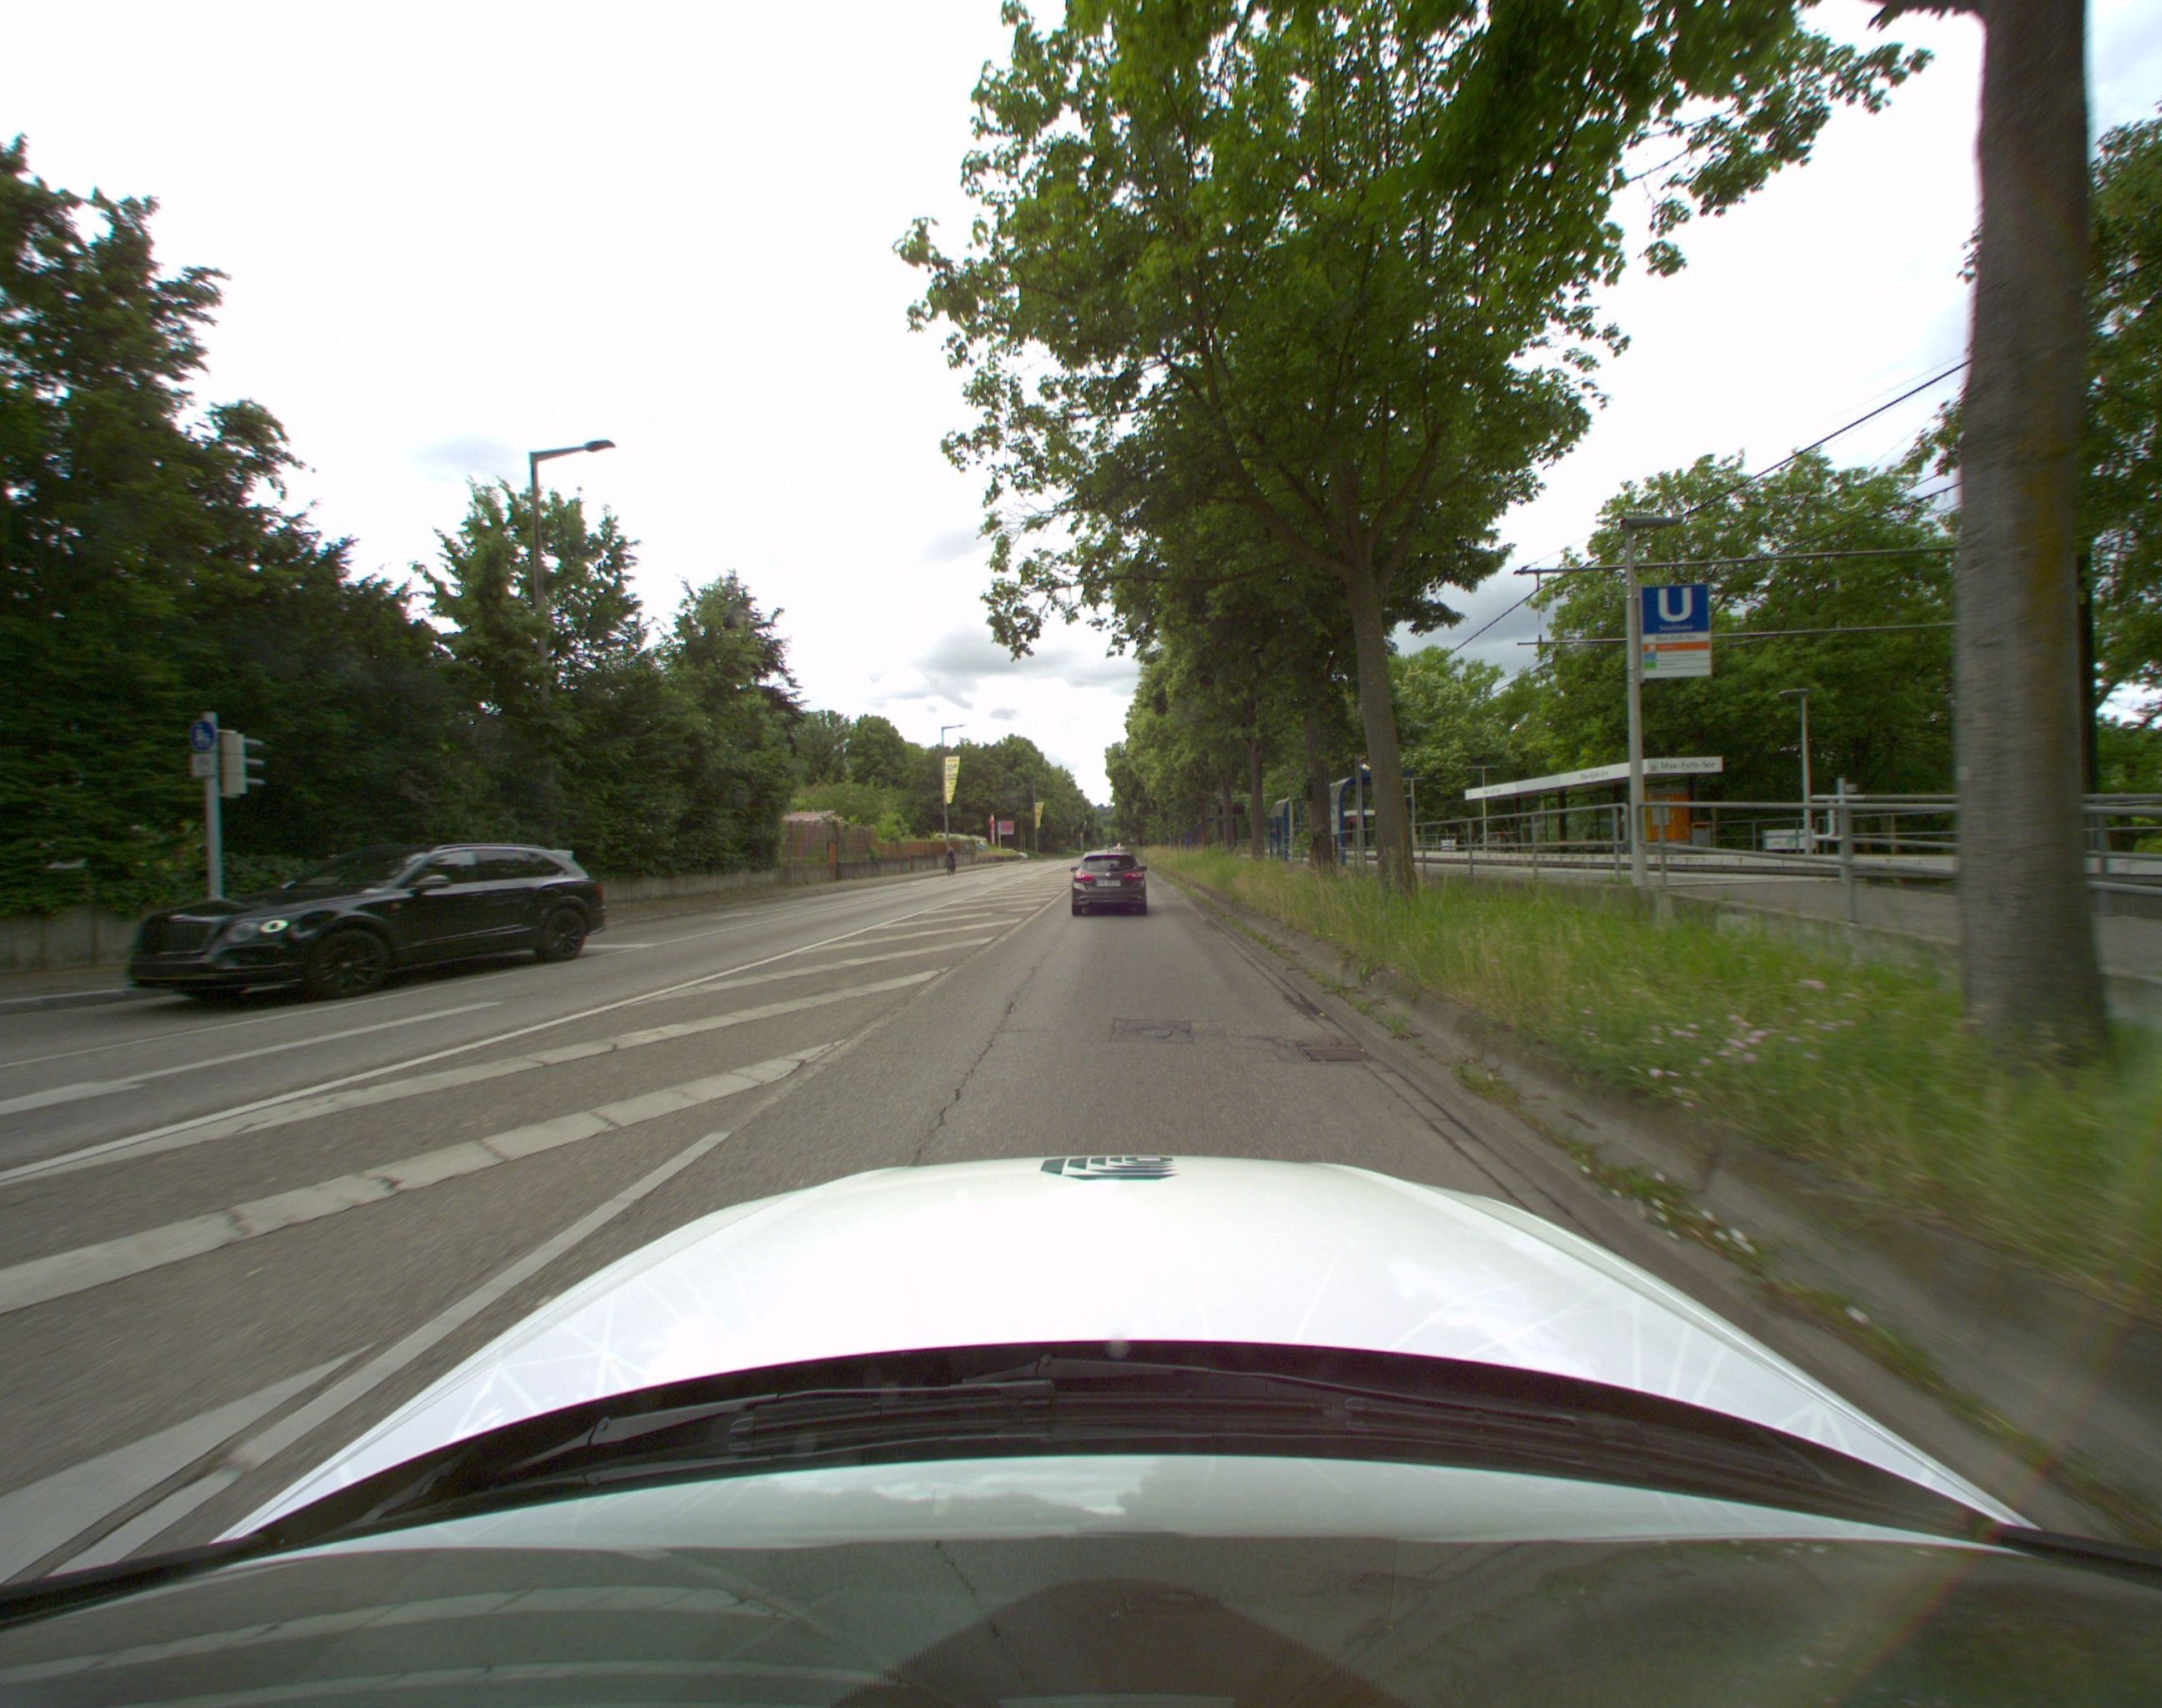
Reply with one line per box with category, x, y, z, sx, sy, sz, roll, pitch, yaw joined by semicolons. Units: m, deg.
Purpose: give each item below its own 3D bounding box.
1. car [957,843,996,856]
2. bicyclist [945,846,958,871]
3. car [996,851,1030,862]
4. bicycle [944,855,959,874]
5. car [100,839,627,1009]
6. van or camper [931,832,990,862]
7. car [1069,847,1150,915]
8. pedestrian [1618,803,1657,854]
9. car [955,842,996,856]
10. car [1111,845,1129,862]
car;-11.527;-0.497;90.084;3.965;1.411;1.536;0;-1;7
bicyclist;-8.031;0.273;50.462;0.640;1.535;0.978;0;0;-2
car;-9.048;0.328;108.330;4.360;1.441;1.961;0;0;0
bicycle;-8.051;0.661;50.664;0.640;1.145;2.146;0;0;-2
car;-8.689;0.711;10.726;1.890;1.678;5.095;-1;0;10
van or camper;-15.942;-0.927;108.397;7.113;3.371;2.798;4;0;2
car;0.805;0.606;20.426;1.829;1.528;3.934;-1;0;4
pedestrian;16.952;-0.771;24.818;0.715;1.511;0.725;0;-1;5
car;-11.395;-0.561;88.207;3.965;1.497;1.863;0;-1;7
car;3.663;-0.045;75.807;1.496;1.528;3.676;0;0;5
